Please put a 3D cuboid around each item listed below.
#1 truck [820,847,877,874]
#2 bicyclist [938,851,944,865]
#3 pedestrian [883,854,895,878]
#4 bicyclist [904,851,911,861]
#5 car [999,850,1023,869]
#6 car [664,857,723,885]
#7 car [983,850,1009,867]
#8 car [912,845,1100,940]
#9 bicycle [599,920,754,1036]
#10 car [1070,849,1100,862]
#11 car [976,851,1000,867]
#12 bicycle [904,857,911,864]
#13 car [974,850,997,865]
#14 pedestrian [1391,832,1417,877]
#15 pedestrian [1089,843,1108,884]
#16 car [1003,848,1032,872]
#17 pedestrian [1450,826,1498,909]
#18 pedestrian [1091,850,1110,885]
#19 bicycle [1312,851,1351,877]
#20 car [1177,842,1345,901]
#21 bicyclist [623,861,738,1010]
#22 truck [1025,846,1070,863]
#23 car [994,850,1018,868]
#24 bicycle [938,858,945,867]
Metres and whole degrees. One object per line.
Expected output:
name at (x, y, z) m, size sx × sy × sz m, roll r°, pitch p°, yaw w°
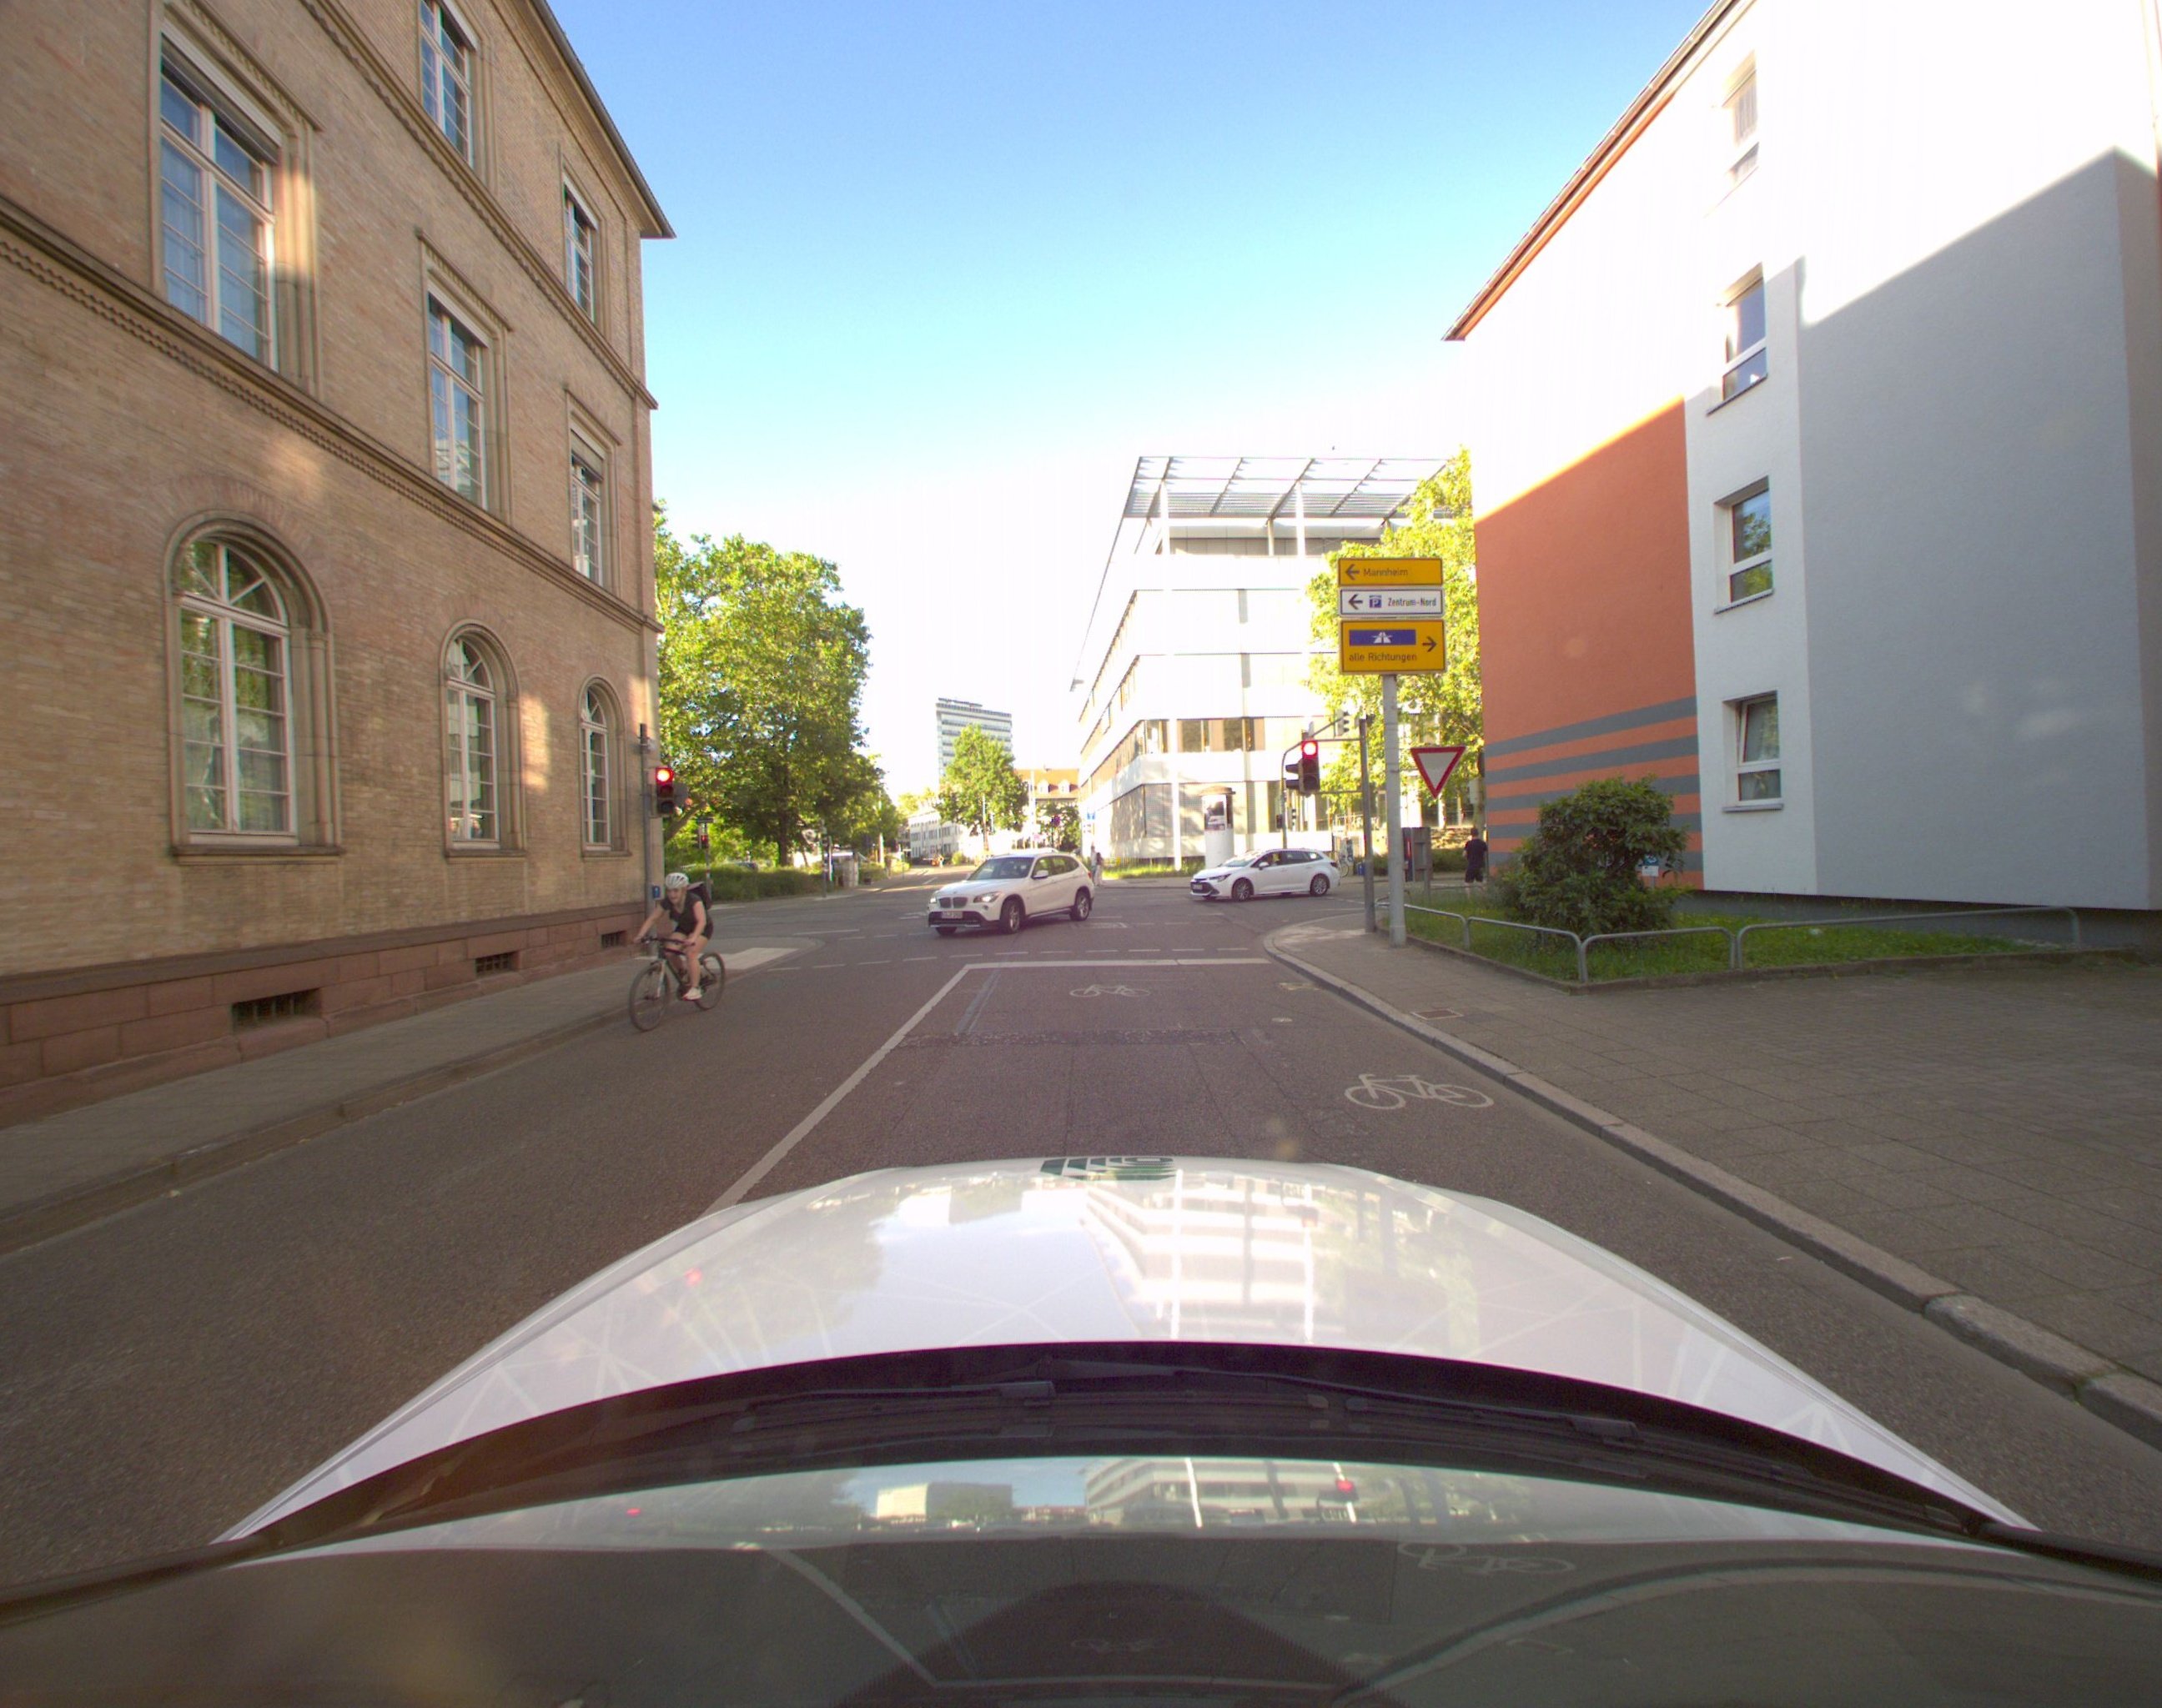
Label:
truck at (-21.611, 0.586, 75.834) m, size 4.825 × 2.399 × 2.082 m, roll -2°, pitch 0°, yaw -8°
bicyclist at (-15.510, 0.465, 90.161) m, size 0.615 × 1.532 × 0.901 m, roll -3°, pitch 0°, yaw -7°
pedestrian at (-13.994, 0.872, 59.319) m, size 0.705 × 1.723 × 0.949 m, roll -3°, pitch 0°, yaw -17°
bicyclist at (-27.219, 0.352, 127.670) m, size 0.866 × 1.515 × 1.016 m, roll -5°, pitch 0°, yaw -9°
car at (-6.336, 0.502, 73.275) m, size 1.887 × 1.555 × 4.403 m, roll -2°, pitch 1°, yaw -8°
car at (-37.171, 1.617, 78.124) m, size 4.551 × 2.391 × 2.069 m, roll -3°, pitch 0°, yaw -7°
car at (-9.028, 0.434, 85.970) m, size 1.893 × 1.655 × 4.390 m, roll -2°, pitch 1°, yaw -16°
car at (-1.388, 0.719, 16.979) m, size 1.669 × 1.582 × 4.301 m, roll -4°, pitch 0°, yaw 29°
bicycle at (-4.293, 1.278, 8.807) m, size 0.683 × 0.924 × 1.767 m, roll -5°, pitch 0°, yaw 2°
car at (0.505, 0.176, 104.435) m, size 3.563 × 1.546 × 1.549 m, roll -2°, pitch 0°, yaw -17°
car at (-10.360, 0.484, 90.792) m, size 1.893 × 1.655 × 4.390 m, roll -2°, pitch 1°, yaw -16°
bicycle at (-27.177, 0.960, 127.653) m, size 0.865 × 1.009 × 2.407 m, roll -5°, pitch 0°, yaw -9°
car at (-11.277, 0.427, 95.968) m, size 1.893 × 1.655 × 4.390 m, roll -2°, pitch 1°, yaw -16°
pedestrian at (13.368, 0.028, 33.755) m, size 0.830 × 1.840 × 0.710 m, roll 0°, pitch 0°, yaw 5°
pedestrian at (0.829, 0.444, 37.936) m, size 0.555 × 1.850 × 0.680 m, roll -5°, pitch 1°, yaw 18°
car at (-5.098, 0.448, 64.981) m, size 2.084 × 1.795 × 4.403 m, roll -2°, pitch 1°, yaw -8°
pedestrian at (8.981, 0.303, 18.626) m, size 0.704 × 1.840 × 0.837 m, roll 0°, pitch 0°, yaw 1°
pedestrian at (0.887, 0.608, 37.151) m, size 0.561 × 1.540 × 0.673 m, roll -5°, pitch 1°, yaw -16°
bicycle at (11.026, 0.418, 35.917) m, size 0.510 × 1.049 × 1.670 m, roll -4°, pitch 3°, yaw -33°
car at (5.274, 0.467, 23.832) m, size 4.550 × 1.476 × 1.878 m, roll -2°, pitch 0°, yaw -23°
bicyclist at (-4.305, 0.845, 8.824) m, size 0.683 × 1.475 × 0.871 m, roll -4°, pitch 0°, yaw 1°
truck at (-4.246, 0.073, 103.365) m, size 5.351 × 2.013 × 1.988 m, roll -2°, pitch 0°, yaw -17°
car at (-7.270, 0.477, 78.673) m, size 1.889 × 1.555 × 4.398 m, roll -2°, pitch 1°, yaw -11°
bicycle at (-15.489, 0.977, 90.147) m, size 0.615 × 0.969 × 1.837 m, roll -3°, pitch 0°, yaw -7°
